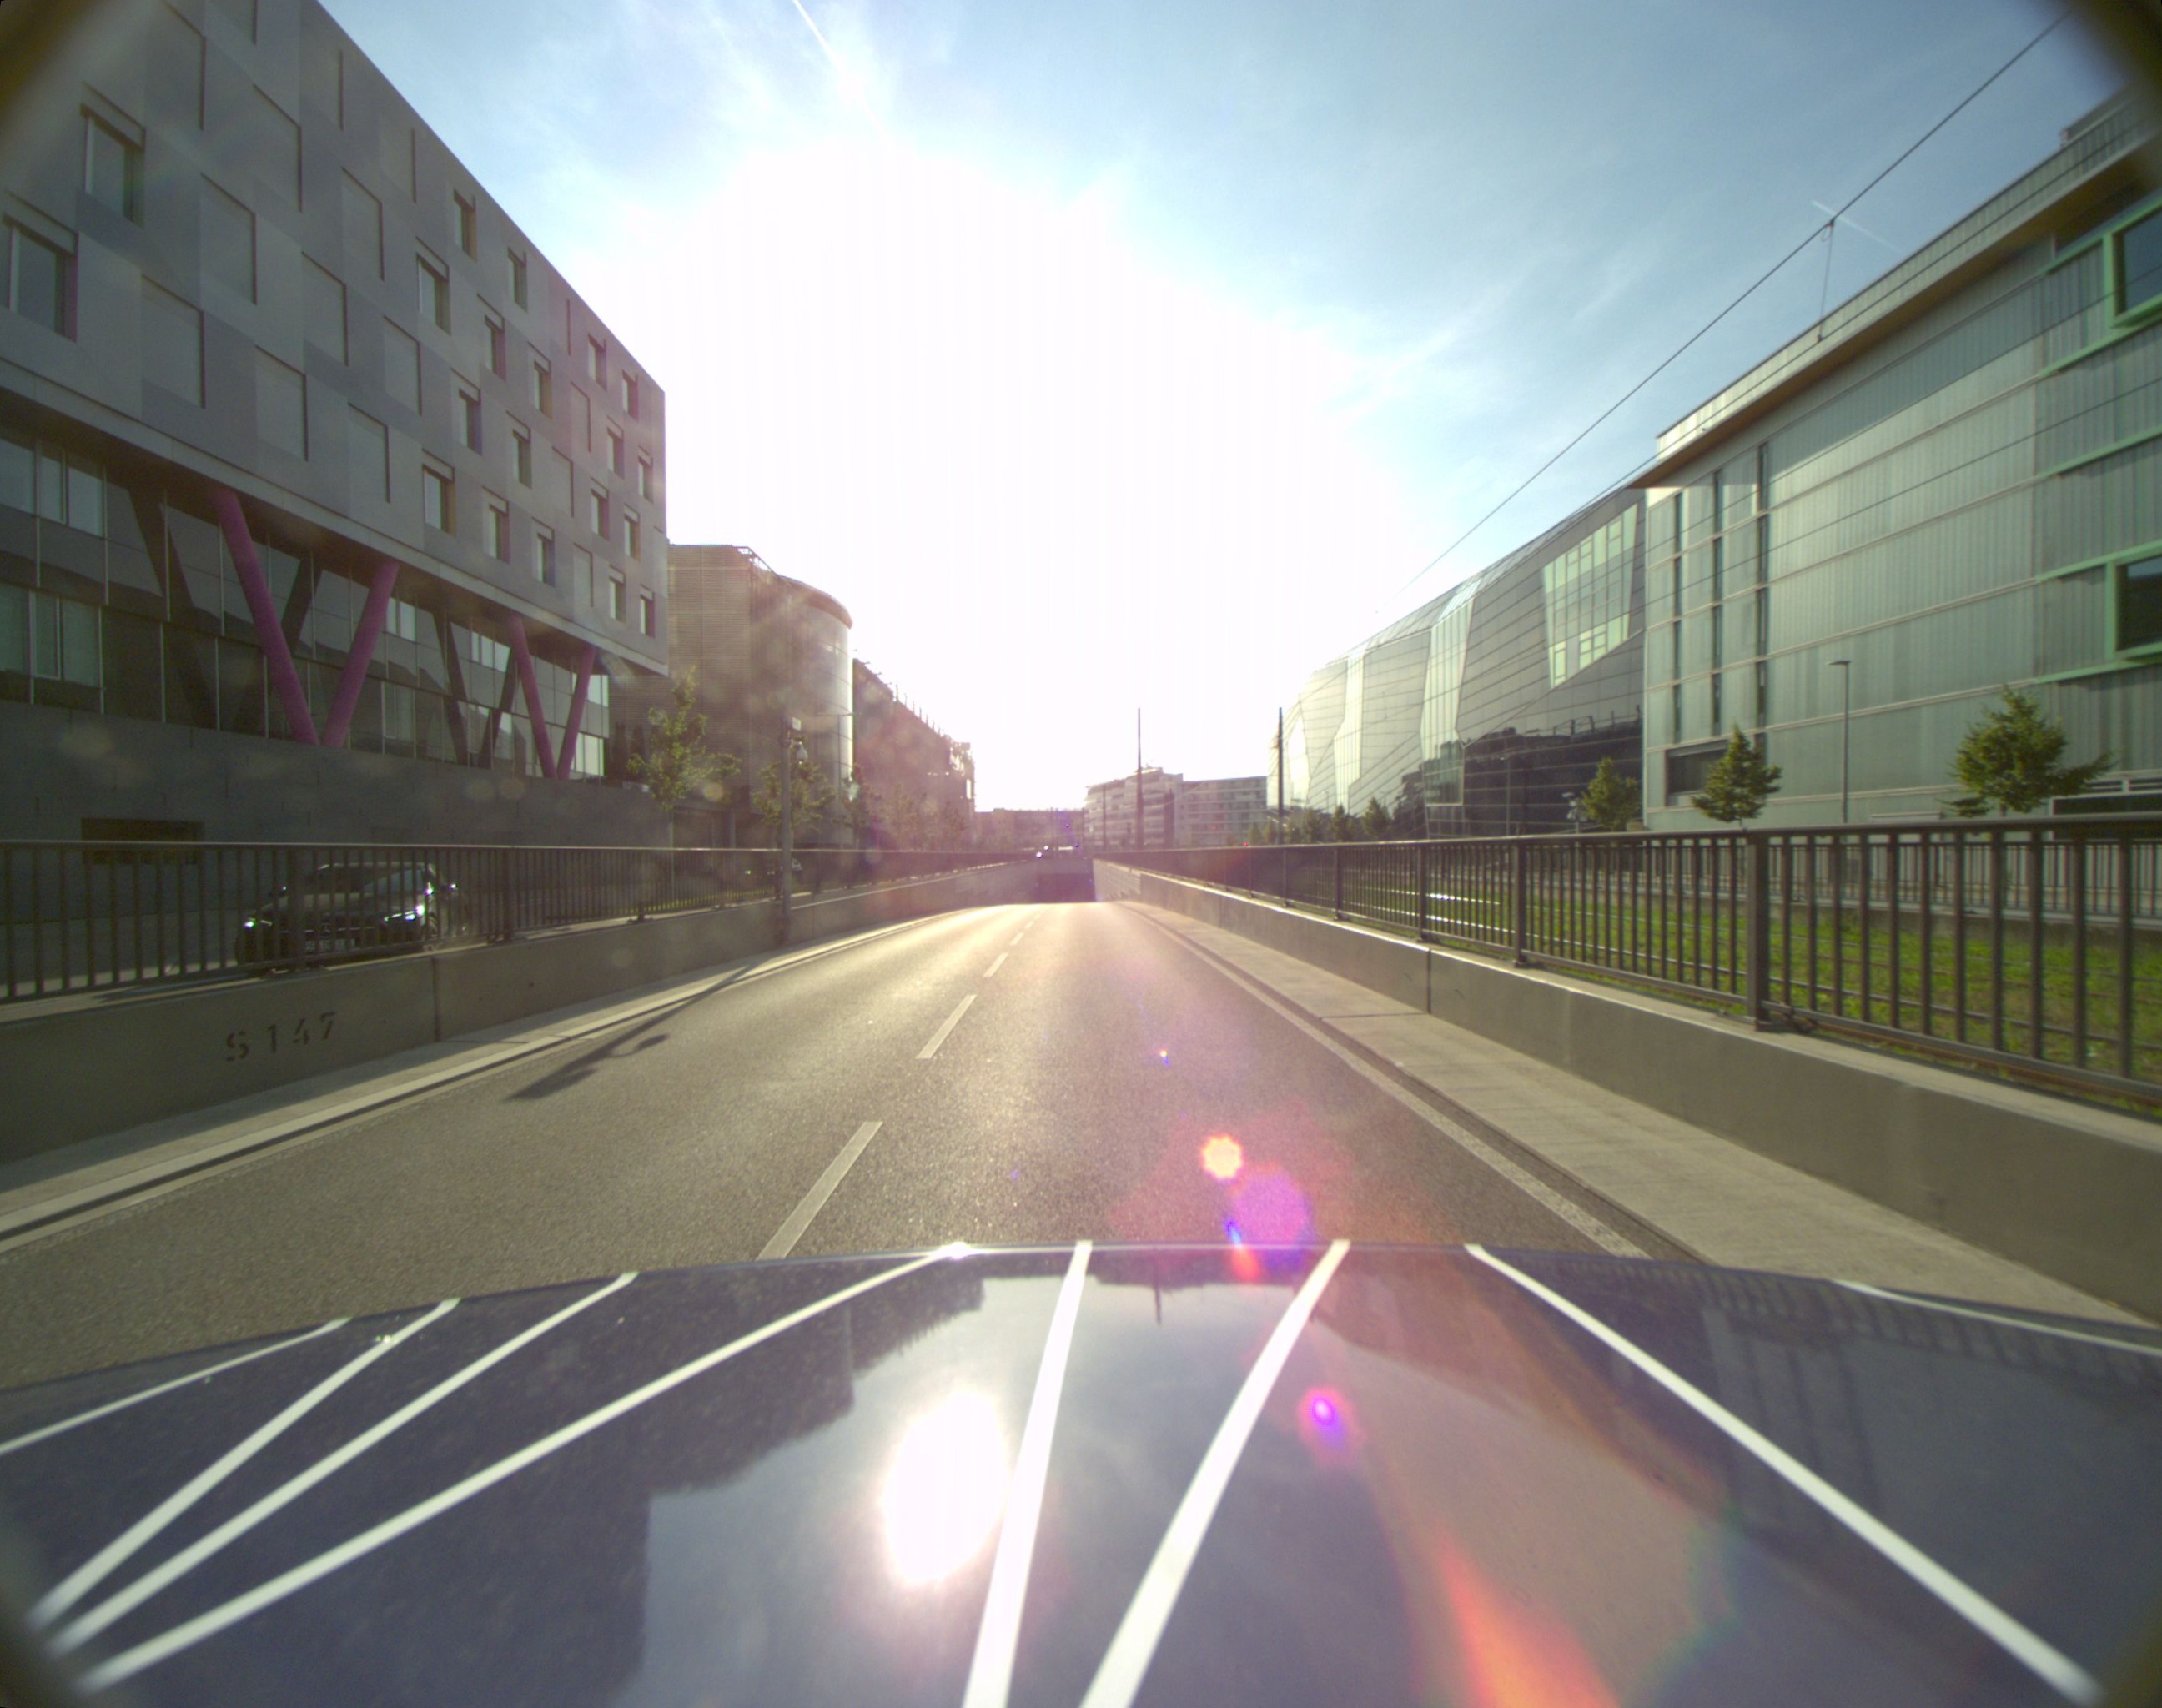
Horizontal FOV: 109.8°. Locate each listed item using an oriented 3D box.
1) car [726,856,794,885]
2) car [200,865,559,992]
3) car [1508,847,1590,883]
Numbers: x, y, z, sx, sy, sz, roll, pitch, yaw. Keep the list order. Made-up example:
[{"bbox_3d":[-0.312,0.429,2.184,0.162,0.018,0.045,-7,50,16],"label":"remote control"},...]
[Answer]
[{"bbox_3d":[-17.783,0.873,42.288,1.894,1.418,4.471,-1,1,-1],"label":"car"},{"bbox_3d":[-10.163,0.942,11.625,1.845,1.441,4.551,-2,0,-10],"label":"car"},{"bbox_3d":[23.464,0.525,38.283,1.746,1.739,3.935,0,0,0],"label":"car"}]
